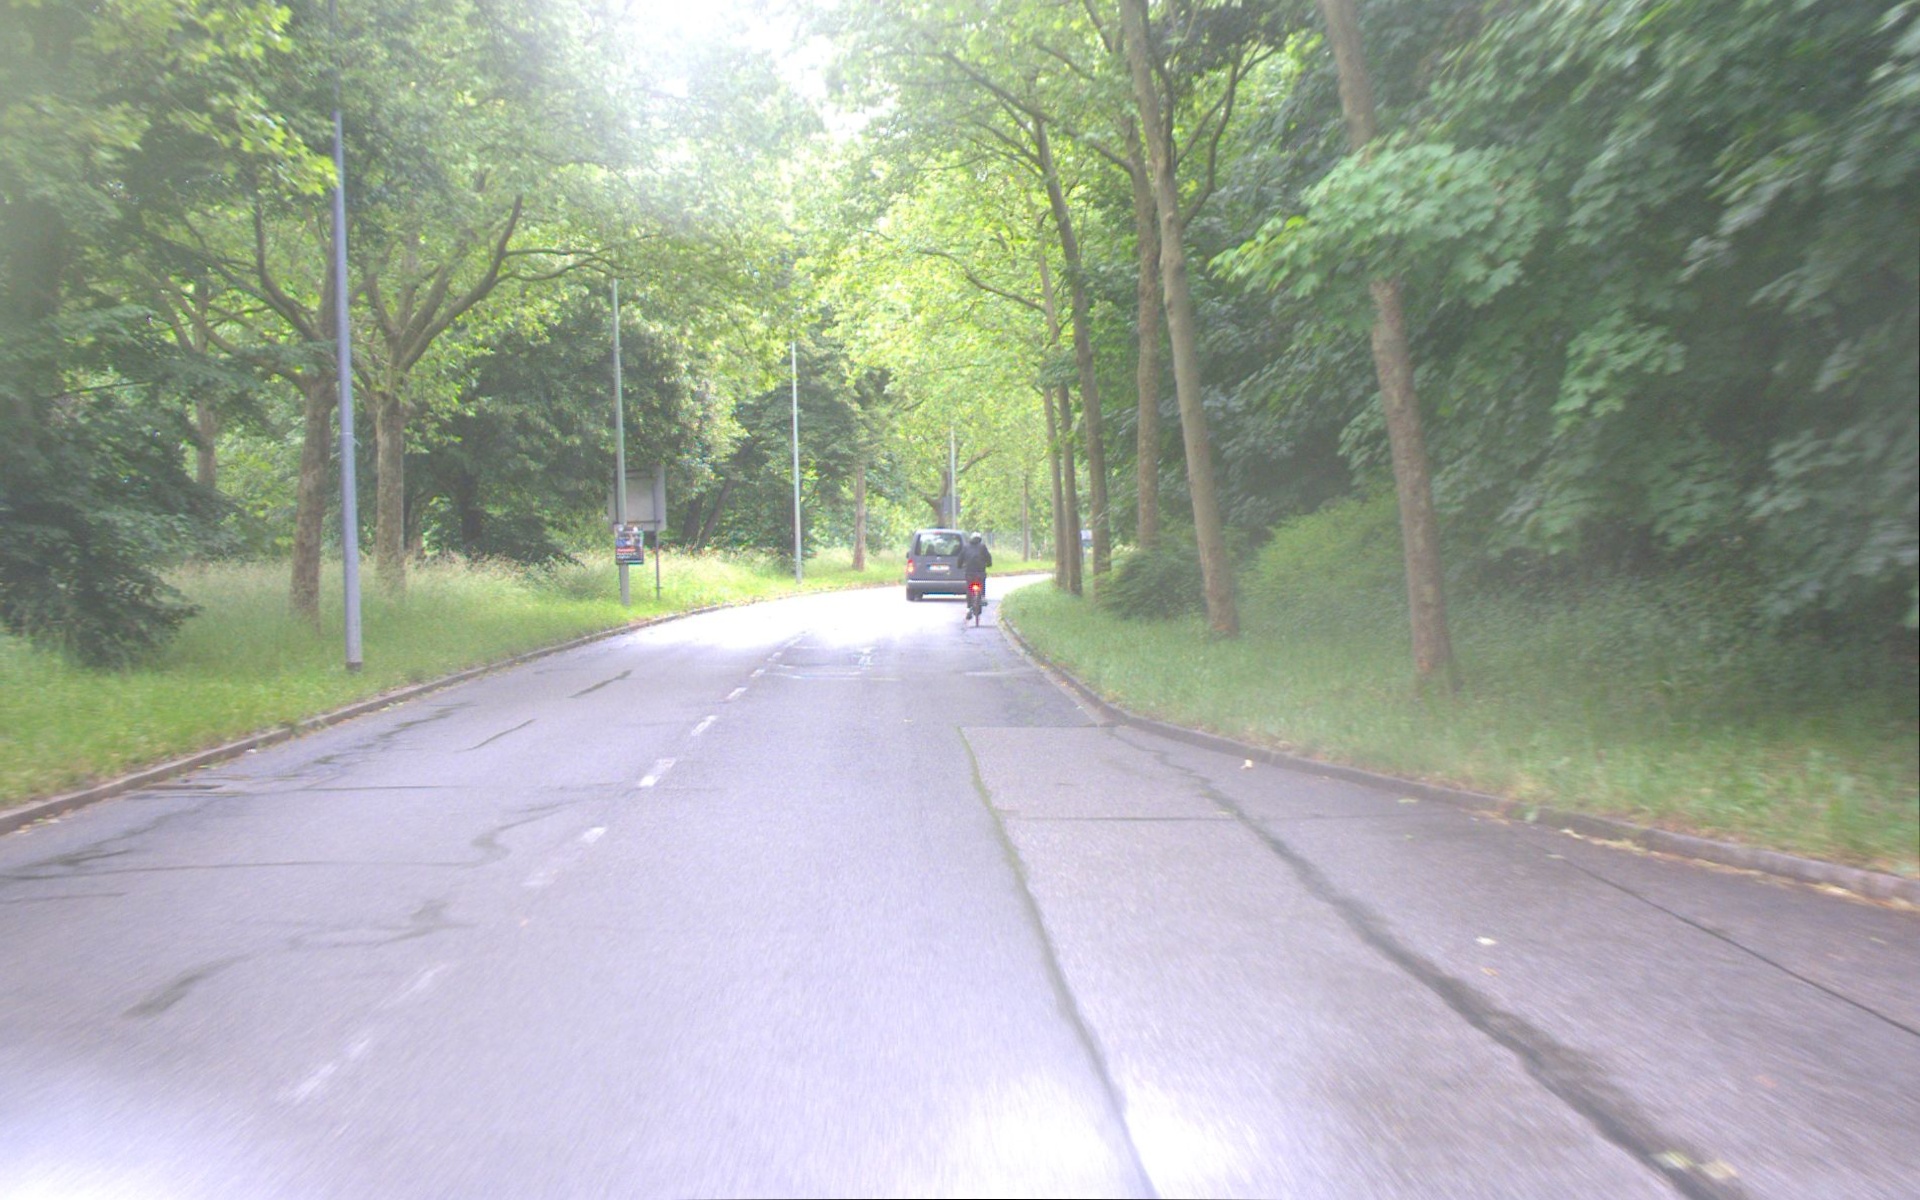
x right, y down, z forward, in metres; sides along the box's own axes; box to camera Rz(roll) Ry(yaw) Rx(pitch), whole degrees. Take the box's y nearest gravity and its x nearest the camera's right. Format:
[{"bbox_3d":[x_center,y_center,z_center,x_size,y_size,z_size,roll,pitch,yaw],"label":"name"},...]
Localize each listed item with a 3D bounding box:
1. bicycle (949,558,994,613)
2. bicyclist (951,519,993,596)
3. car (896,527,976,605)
[{"bbox_3d":[0.219,-0.278,62.874,0.730,0.970,2.173,0,1,2],"label":"bicycle"},{"bbox_3d":[0.220,-0.781,62.784,0.730,1.406,0.973,0,1,2],"label":"bicyclist"},{"bbox_3d":[-0.645,-0.897,88.461,1.985,1.919,4.000,-1,1,-1],"label":"car"}]
